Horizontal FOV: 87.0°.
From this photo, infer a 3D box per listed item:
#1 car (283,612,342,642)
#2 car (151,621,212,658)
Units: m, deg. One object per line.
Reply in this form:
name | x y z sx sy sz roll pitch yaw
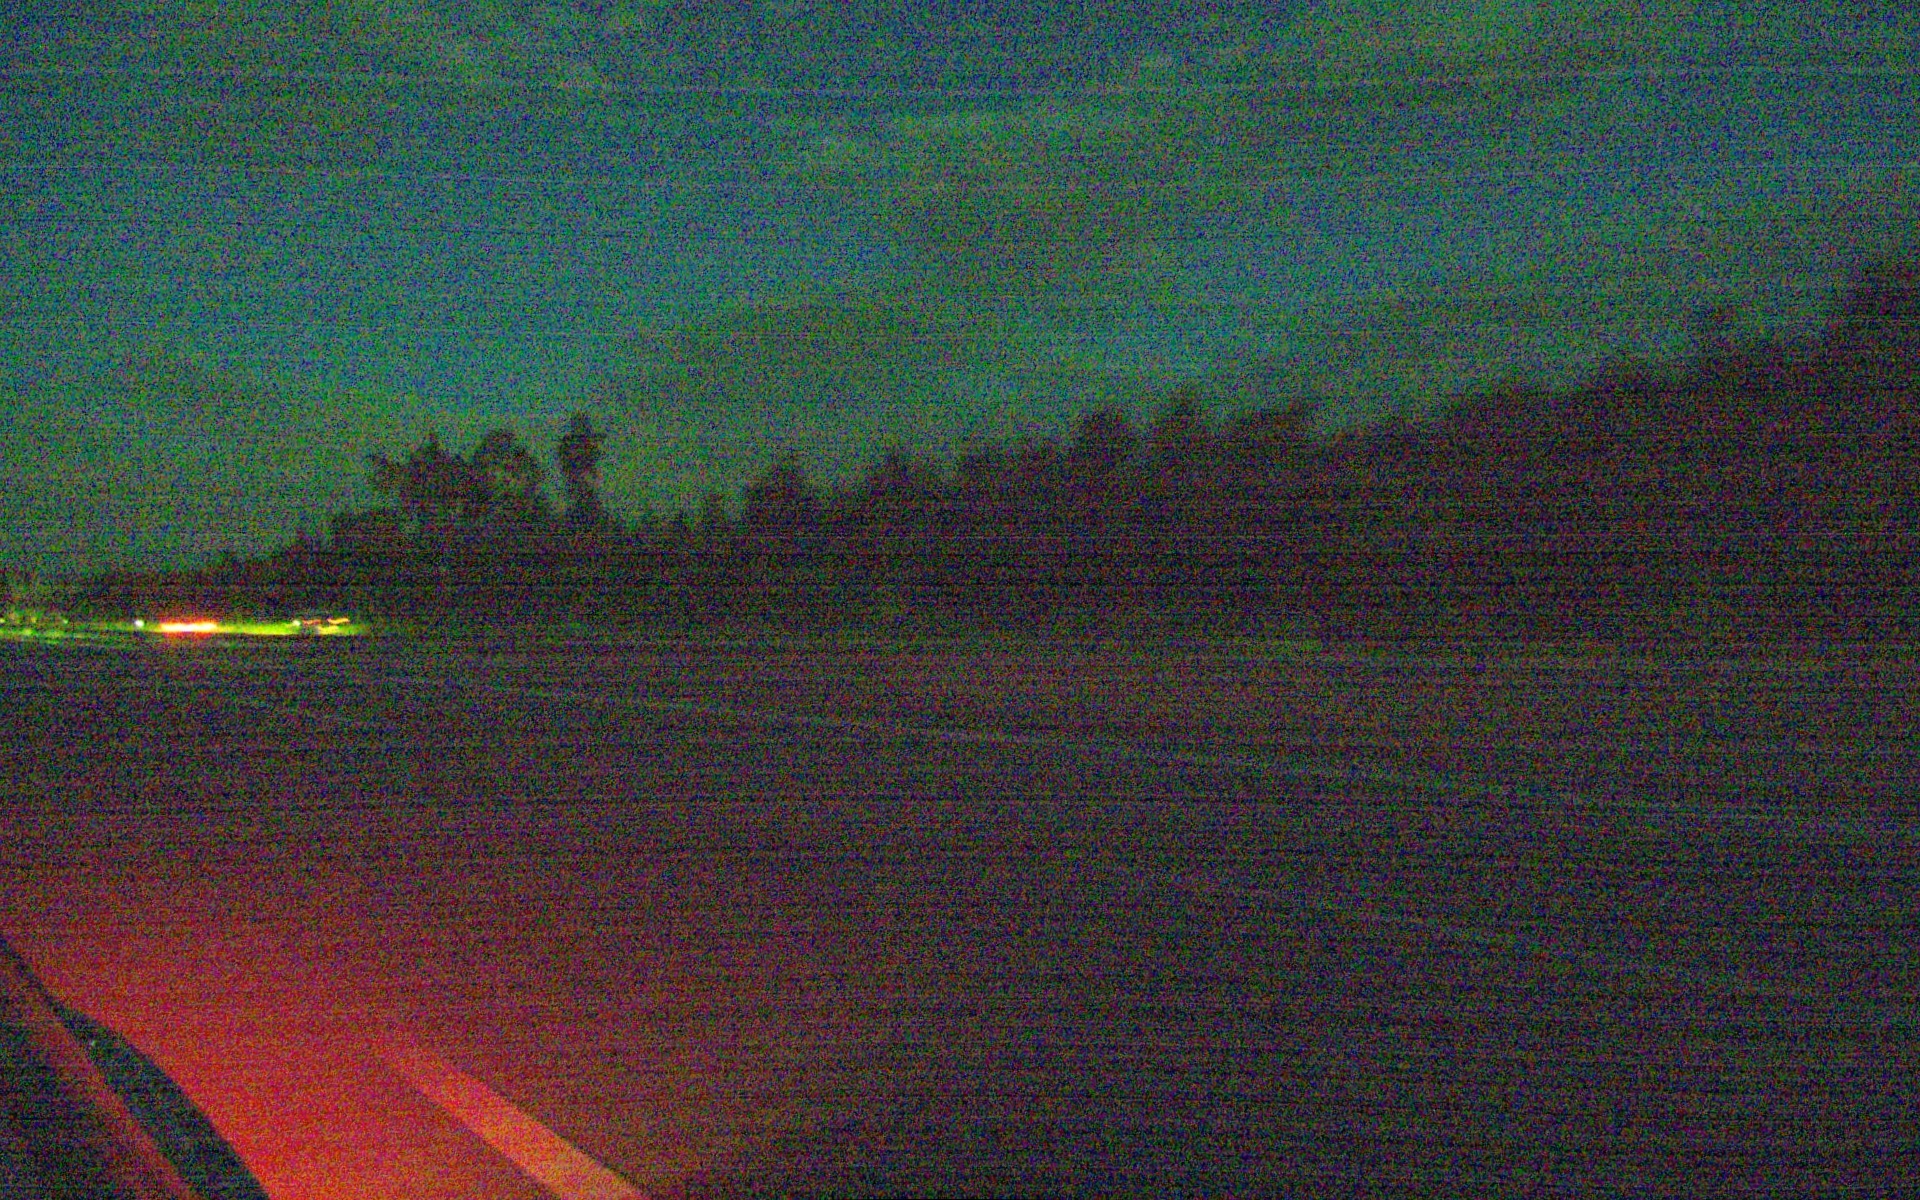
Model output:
car | -41.444 1.709 64.724 5.089 1.791 1.972 -1 0 43
car | -45.061 2.236 58.556 4.604 2.029 1.972 -1 0 42
